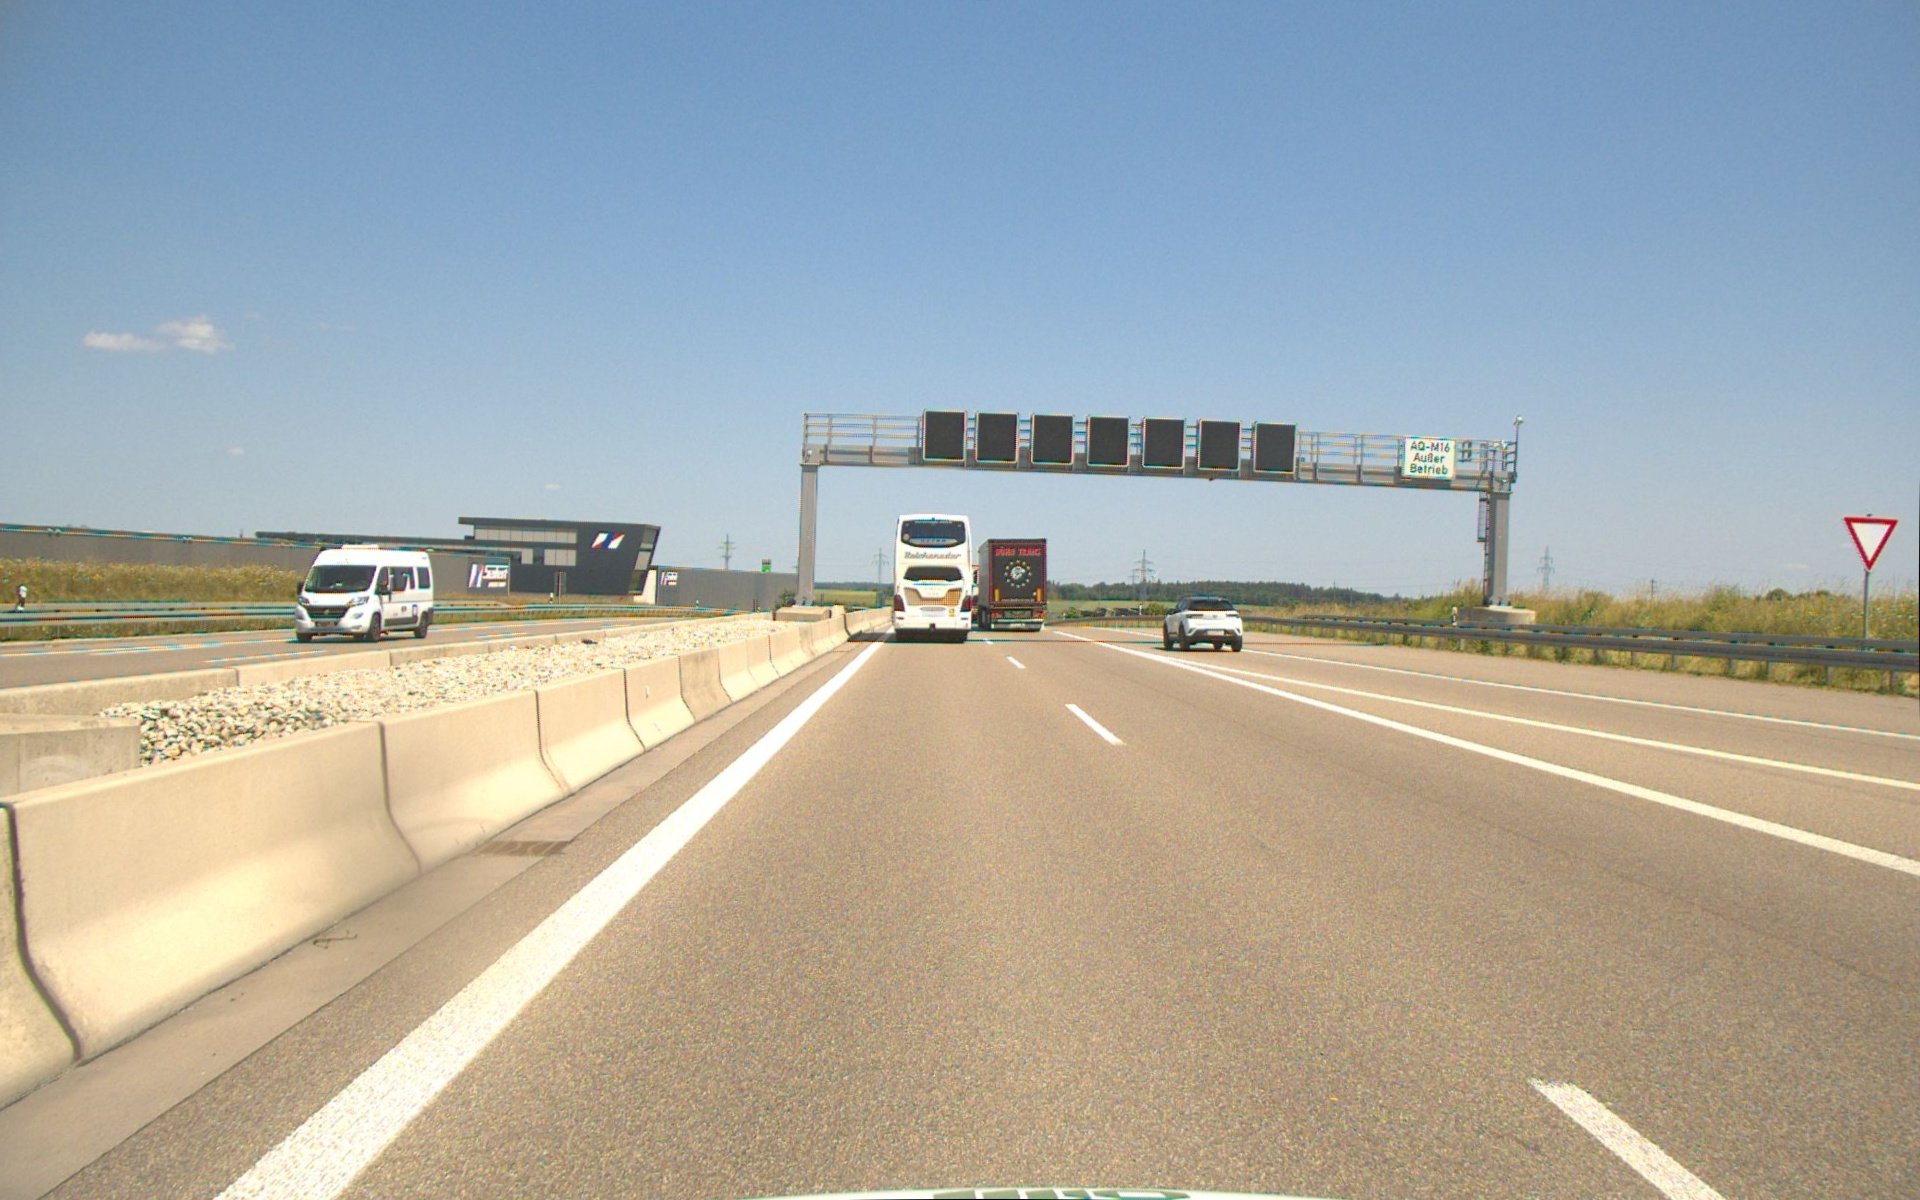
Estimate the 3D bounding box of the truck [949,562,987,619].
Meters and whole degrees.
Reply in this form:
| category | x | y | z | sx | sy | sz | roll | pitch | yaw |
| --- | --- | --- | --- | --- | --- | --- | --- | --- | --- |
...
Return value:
| category | x | y | z | sx | sy | sz | roll | pitch | yaw |
| --- | --- | --- | --- | --- | --- | --- | --- | --- | --- |
| truck | 0.542 | -0.668 | 116.937 | 2.388 | 3.855 | 6.490 | 1 | 0 | -2 |

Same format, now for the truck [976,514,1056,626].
| category | x | y | z | sx | sy | sz | roll | pitch | yaw |
| --- | --- | --- | --- | --- | --- | --- | --- | --- | --- |
| truck | 2.466 | -1.174 | 77.614 | 3.310 | 4.542 | 13.565 | 1 | -2 | 0 |

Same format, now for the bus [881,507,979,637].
| category | x | y | z | sx | sy | sz | roll | pitch | yaw |
| --- | --- | --- | --- | --- | --- | --- | --- | --- | --- |
| bus | -1.151 | -0.962 | 56.665 | 2.921 | 4.044 | 9.099 | 1 | 1 | -4 |

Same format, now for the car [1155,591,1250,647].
| category | x | y | z | sx | sy | sz | roll | pitch | yaw |
| --- | --- | --- | --- | --- | --- | --- | --- | --- | --- |
| car | 7.094 | 0.516 | 48.825 | 1.854 | 1.556 | 4.258 | 1 | 0 | -5 |

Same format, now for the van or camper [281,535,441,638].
| category | x | y | z | sx | sy | sz | roll | pitch | yaw |
| --- | --- | --- | --- | --- | --- | --- | --- | --- | --- |
| van or camper | -16.401 | -0.362 | 45.724 | 2.272 | 2.603 | 6.314 | 1 | 0 | -2 |
